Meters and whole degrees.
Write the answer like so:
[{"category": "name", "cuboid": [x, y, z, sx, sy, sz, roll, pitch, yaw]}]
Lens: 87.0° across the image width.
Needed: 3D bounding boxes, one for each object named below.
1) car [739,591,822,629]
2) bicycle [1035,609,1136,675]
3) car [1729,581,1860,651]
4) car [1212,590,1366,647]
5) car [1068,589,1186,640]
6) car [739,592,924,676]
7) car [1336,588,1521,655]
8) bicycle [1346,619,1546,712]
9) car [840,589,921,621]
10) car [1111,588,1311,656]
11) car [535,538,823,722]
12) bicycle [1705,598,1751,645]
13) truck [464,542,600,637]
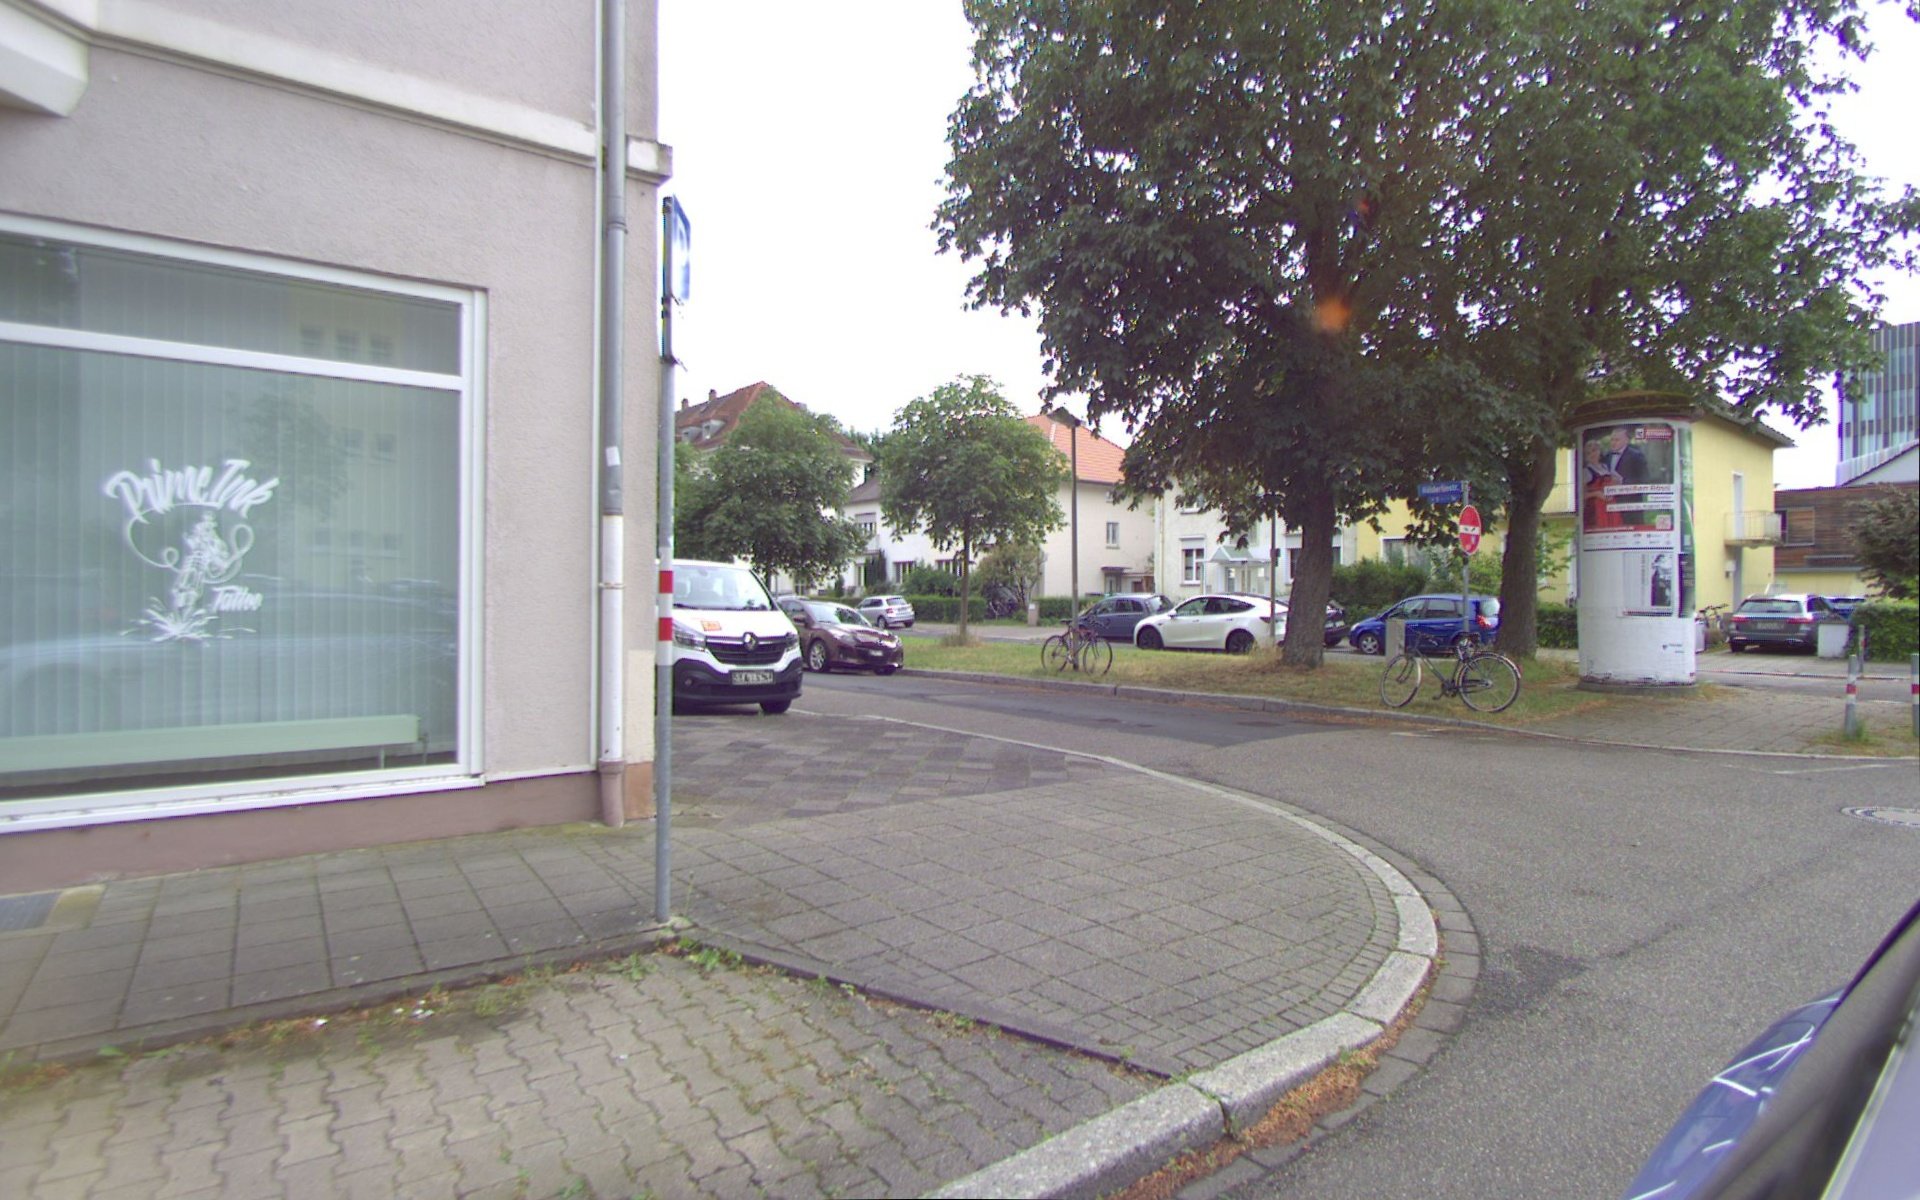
[{"category": "car", "cuboid": [-7.747, 0.390, 43.459, 1.774, 1.506, 4.001, -2, 1, -40]}, {"category": "bicycle", "cuboid": [2.212, 0.720, 18.074, 0.655, 1.080, 1.884, 0, 0, -38]}, {"category": "car", "cuboid": [21.190, 0.360, 25.652, 3.928, 1.631, 1.841, 0, 0, -39]}, {"category": "car", "cuboid": [9.841, 0.507, 30.506, 1.690, 1.518, 4.161, -3, 2, -40]}, {"category": "car", "cuboid": [5.782, 0.474, 35.327, 1.690, 1.621, 3.879, -3, 2, -41]}, {"category": "car", "cuboid": [-2.690, 0.650, 20.425, 1.685, 1.477, 4.157, 6, -4, -39]}, {"category": "car", "cuboid": [12.402, 0.505, 27.030, 1.673, 1.586, 4.209, -2, 1, -36]}, {"category": "bicycle", "cuboid": [5.928, 0.760, 12.470, 0.503, 0.997, 2.178, -3, 2, -42]}, {"category": "car", "cuboid": [-3.706, 0.182, 46.518, 1.774, 1.372, 3.936, -2, 1, -40]}, {"category": "car", "cuboid": [6.375, 0.500, 26.198, 1.869, 1.586, 4.877, 0, 0, -40]}, {"category": "car", "cuboid": [-3.978, 0.347, 13.655, 1.851, 2.021, 5.006, 1, -1, -39]}, {"category": "bicycle", "cuboid": [20.476, 0.550, 26.967, 2.137, 1.210, 0.483, 0, 0, -39]}, {"category": "truck", "cuboid": [-15.662, -0.332, 36.728, 2.401, 2.996, 7.103, 6, -4, -39]}]
